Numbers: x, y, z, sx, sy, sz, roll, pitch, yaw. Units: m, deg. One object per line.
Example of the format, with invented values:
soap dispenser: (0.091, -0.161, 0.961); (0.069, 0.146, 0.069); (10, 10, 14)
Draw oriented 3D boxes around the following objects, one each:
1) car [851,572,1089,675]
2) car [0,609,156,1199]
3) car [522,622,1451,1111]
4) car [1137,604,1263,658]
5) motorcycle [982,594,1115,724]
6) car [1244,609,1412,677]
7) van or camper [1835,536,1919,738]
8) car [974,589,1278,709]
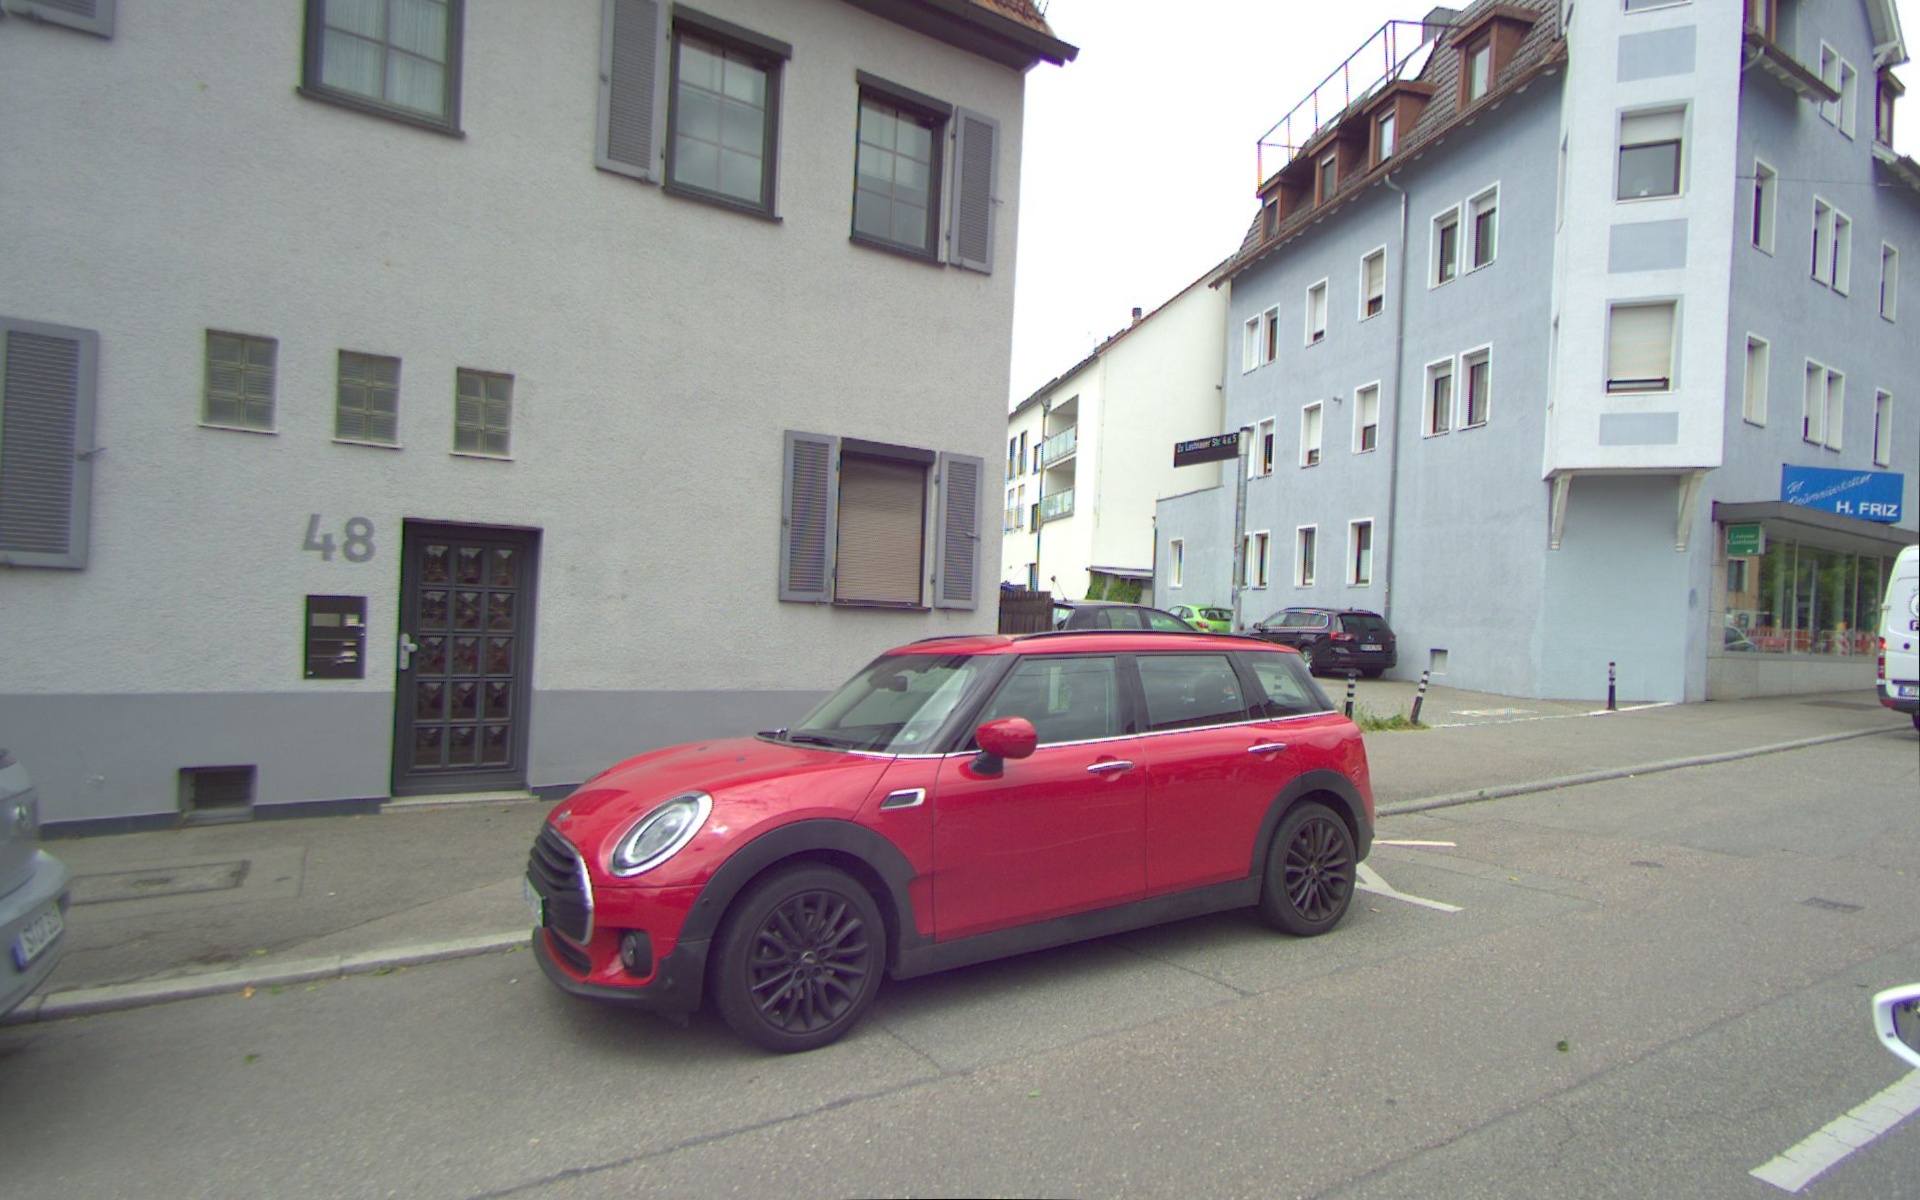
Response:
car: (0.228, 0.483, 20.620); (4.561, 1.934, 1.828); (1, -1, -27)
car: (-4.618, 0.784, 2.156); (4.305, 1.493, 1.768); (1, -4, -33)
car: (0.259, 0.880, 4.991); (4.301, 1.493, 1.850); (1, -2, -30)
car: (6.805, 0.851, 28.977); (1.964, 1.411, 4.407); (1, -1, -10)
motorcycle: (1.063, 0.699, 13.021); (0.823, 1.493, 2.826); (1, -1, -14)
car: (8.020, 0.891, 22.295); (1.692, 1.370, 3.992); (1, -1, -11)
van or camper: (15.519, 0.546, 13.921); (6.109, 2.642, 2.317); (1, 0, -18)
car: (2.605, 0.688, 15.546); (4.363, 1.573, 1.983); (1, 2, -30)
